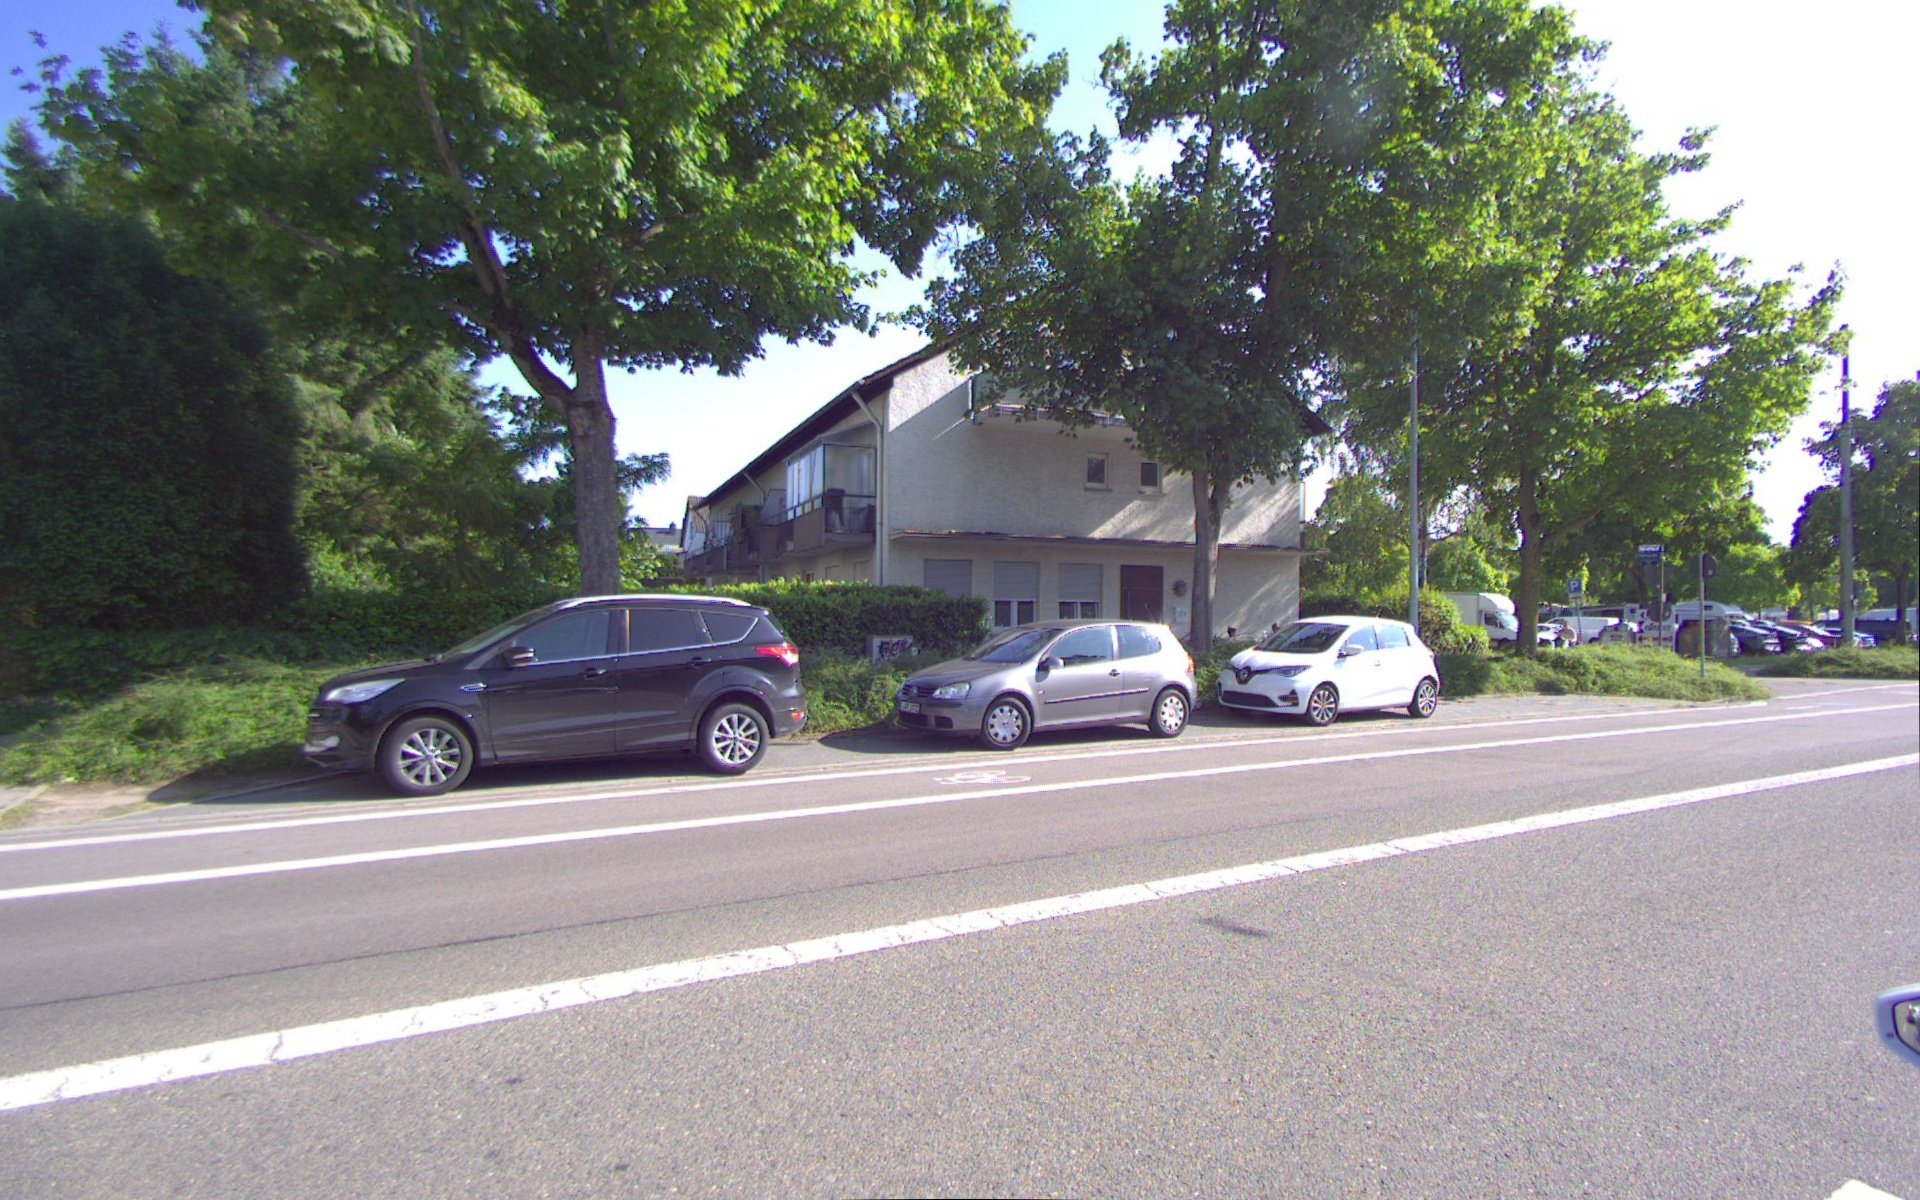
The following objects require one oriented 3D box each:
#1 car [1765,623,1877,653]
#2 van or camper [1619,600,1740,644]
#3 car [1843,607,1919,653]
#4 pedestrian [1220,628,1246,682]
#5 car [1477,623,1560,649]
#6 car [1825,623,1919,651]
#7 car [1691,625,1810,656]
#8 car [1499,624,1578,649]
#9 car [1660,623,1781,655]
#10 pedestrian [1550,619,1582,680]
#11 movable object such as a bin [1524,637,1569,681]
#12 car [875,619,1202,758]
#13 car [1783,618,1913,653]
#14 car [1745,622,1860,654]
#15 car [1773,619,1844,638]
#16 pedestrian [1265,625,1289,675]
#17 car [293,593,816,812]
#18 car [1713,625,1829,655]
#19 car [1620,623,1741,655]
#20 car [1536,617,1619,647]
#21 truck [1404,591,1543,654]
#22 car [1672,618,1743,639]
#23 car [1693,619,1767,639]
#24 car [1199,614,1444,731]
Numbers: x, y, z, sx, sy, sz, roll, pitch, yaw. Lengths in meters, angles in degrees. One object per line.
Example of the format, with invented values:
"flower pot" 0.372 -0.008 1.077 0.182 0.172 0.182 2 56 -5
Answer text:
"car" 42.957 1.851 50.181 1.719 1.416 3.964 1 -1 -33
"van or camper" 49.431 1.479 69.194 2.279 2.906 6.436 1 -1 -29
"car" 52.071 1.628 54.939 2.062 2.456 5.351 1 -1 -29
"pedestrian" 6.075 1.212 22.343 0.440 1.177 0.345 1 -1 -22
"car" 32.564 2.078 58.648 1.719 1.477 3.964 1 -1 -33
"car" 48.942 1.954 53.563 1.719 1.416 3.964 1 -1 -33
"car" 35.889 1.815 45.687 1.719 1.324 3.964 1 -1 -33
"car" 34.759 2.170 60.466 1.604 1.379 3.976 1 -1 -24
"car" 33.621 1.679 44.490 1.719 1.324 3.964 1 -1 -33
"pedestrian" 16.846 1.367 27.927 0.603 1.649 0.522 1 -1 -30
"movable object such as a bin" 16.038 1.604 27.462 1.246 1.161 0.539 1 -1 -30
"car" 1.051 1.004 12.701 3.925 1.488 1.667 1 -1 -33
"car" 45.125 1.760 51.140 2.026 1.673 4.594 1 -1 -31
"car" 40.569 1.806 48.442 1.719 1.416 3.964 1 -1 -33
"car" 66.795 2.217 79.133 1.719 1.416 3.964 1 -1 -33
"pedestrian" 7.932 1.248 25.117 0.385 1.233 0.444 1 -1 -22
"car" -3.750 0.833 9.728 4.370 1.716 1.704 1 -1 -30
"car" 38.462 1.867 47.727 1.719 1.324 3.964 1 -1 -33
"car" 31.315 1.667 43.733 1.719 1.324 3.964 1 -1 -33
"car" 37.234 1.911 60.616 1.611 1.751 3.959 1 -1 -36
"truck" 28.425 1.211 55.925 1.965 3.285 6.926 1 -1 -31
"car" 52.350 1.997 70.375 1.719 1.416 3.642 1 -1 -33
"car" 56.385 2.077 73.631 1.719 1.416 3.964 1 -1 -33
"car" 5.663 1.038 15.611 3.853 1.571 1.591 1 1 -34
